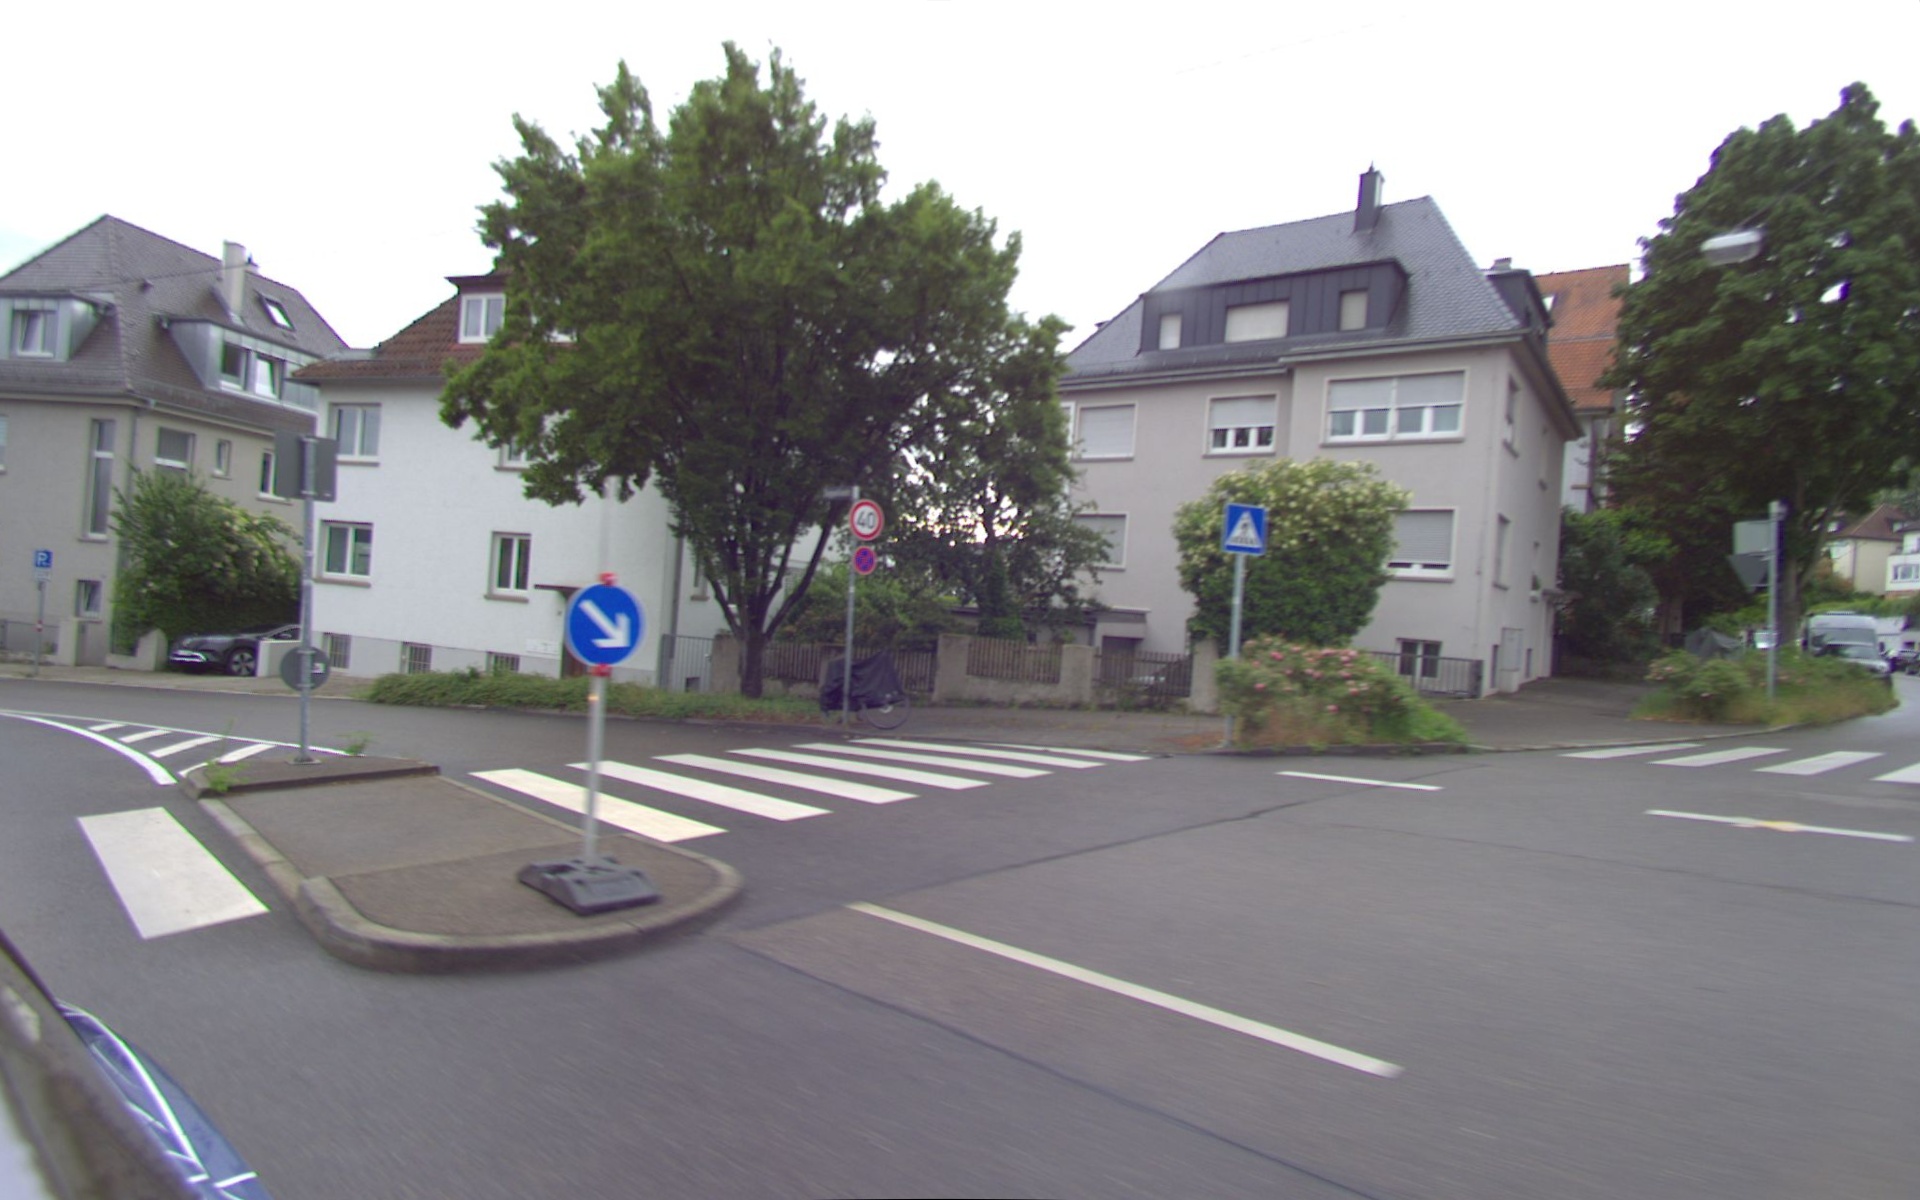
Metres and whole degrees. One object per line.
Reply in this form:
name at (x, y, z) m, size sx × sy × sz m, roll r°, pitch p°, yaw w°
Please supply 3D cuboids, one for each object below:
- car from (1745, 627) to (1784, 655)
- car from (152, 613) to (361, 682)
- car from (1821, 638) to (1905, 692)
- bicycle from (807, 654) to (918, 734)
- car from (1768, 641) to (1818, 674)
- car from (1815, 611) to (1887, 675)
car at (47.728, 2.429, 60.026) m, size 1.736 × 1.597 × 3.947 m, roll 0°, pitch -2°, yaw 39°
car at (-18.535, 1.182, 26.916) m, size 1.984 × 1.636 × 4.227 m, roll 1°, pitch 0°, yaw 19°
car at (27.867, 1.953, 31.325) m, size 1.539 × 1.539 × 3.636 m, roll 0°, pitch -2°, yaw 36°
bicycle at (-1.466, 1.360, 14.948) m, size 1.963 × 1.093 × 0.416 m, roll -3°, pitch -3°, yaw 42°
car at (38.494, 2.626, 46.812) m, size 1.736 × 1.374 × 3.947 m, roll 0°, pitch -2°, yaw 39°
car at (32.165, 1.518, 36.645) m, size 1.836 × 2.139 × 4.972 m, roll 0°, pitch -2°, yaw 40°
